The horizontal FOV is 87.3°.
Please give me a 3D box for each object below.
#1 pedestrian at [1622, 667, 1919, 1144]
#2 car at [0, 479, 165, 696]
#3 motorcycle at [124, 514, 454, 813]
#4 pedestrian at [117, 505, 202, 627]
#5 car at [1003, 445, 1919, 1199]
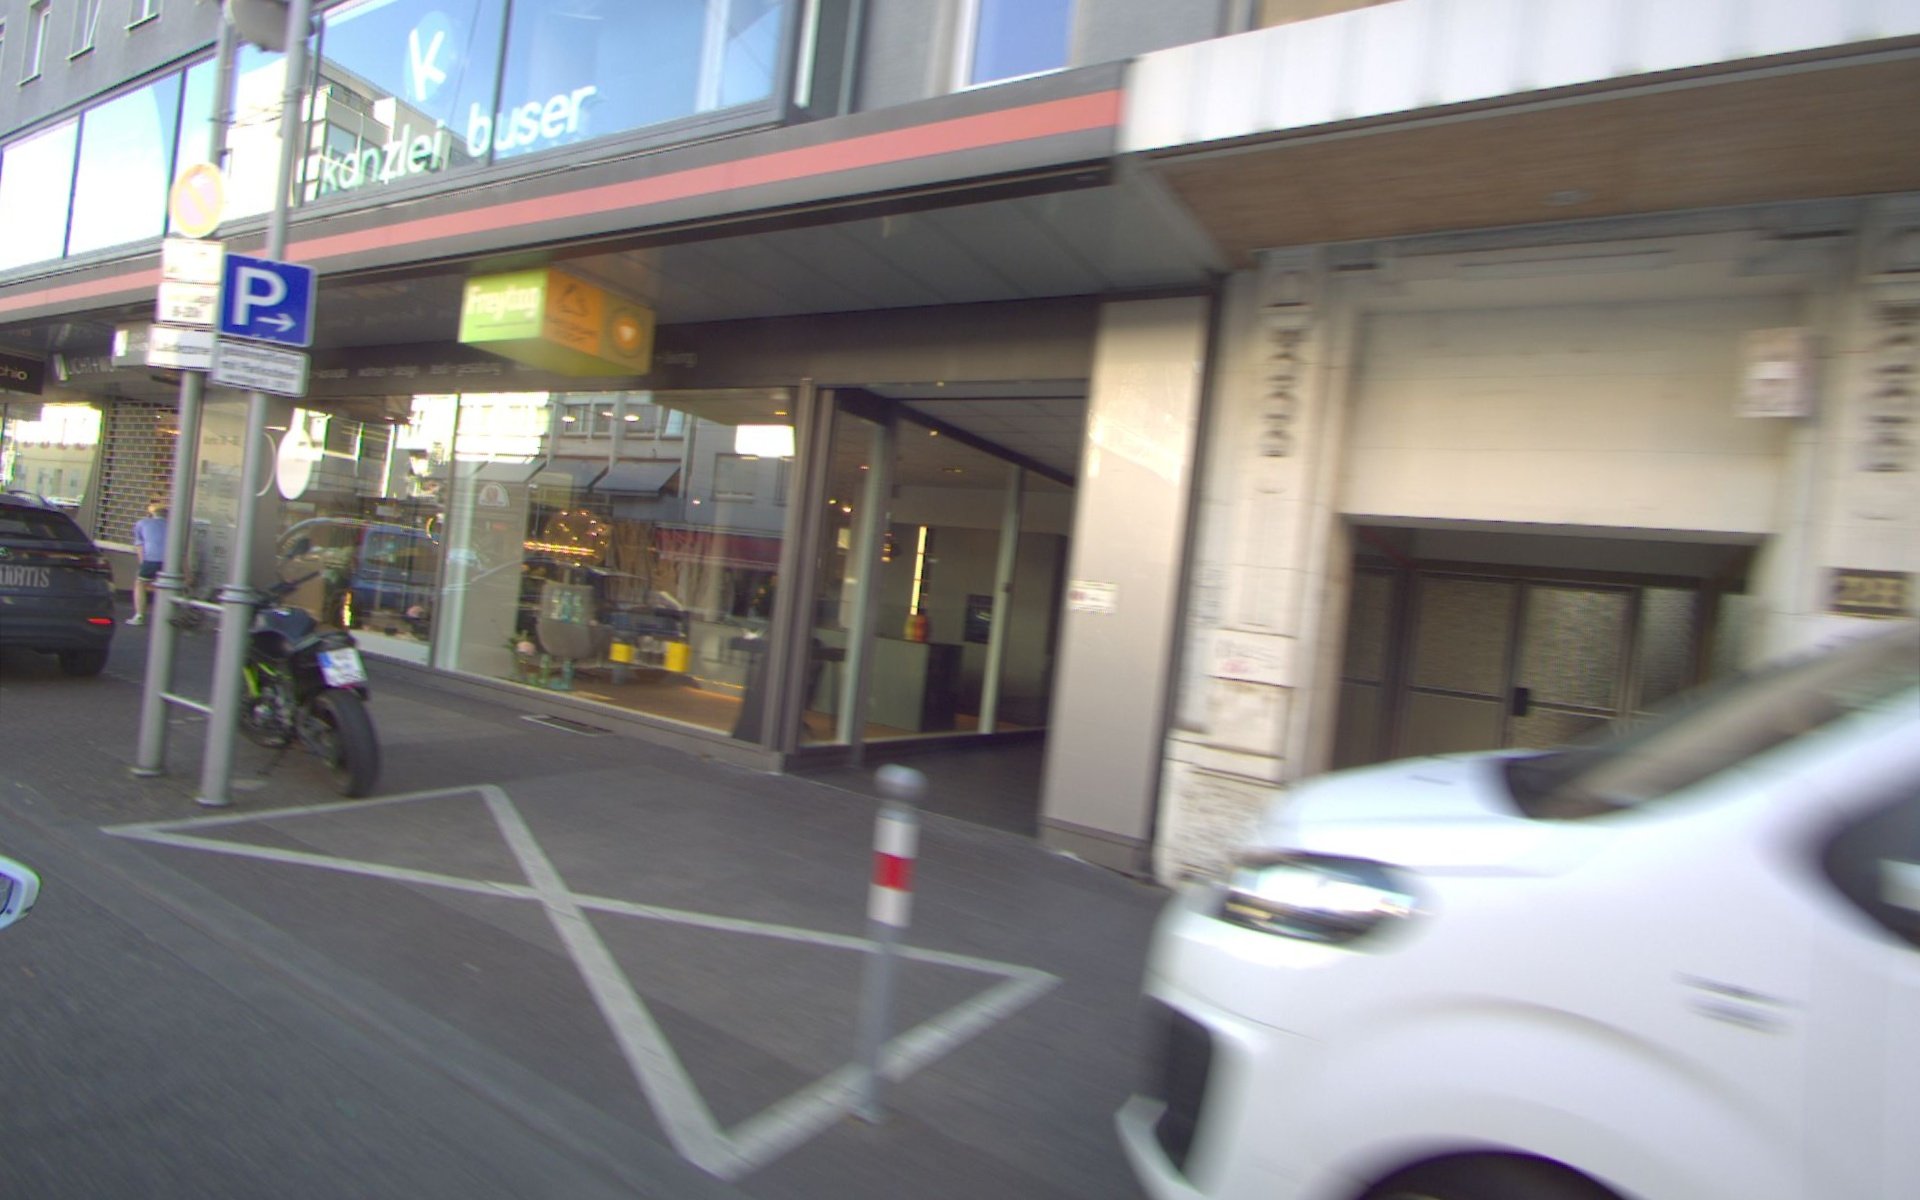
[{"bbox_3d":[3.168,1.077,3.919,0.801,1.527,0.696,7,1,31],"label":"pedestrian"},{"bbox_3d":[-8.817,-0.277,8.574,4.216,1.598,1.765,6,1,31],"label":"car"},{"bbox_3d":[-4.124,0.303,6.102,2.284,1.450,0.659,6,1,31],"label":"motorcycle"},{"bbox_3d":[-10.179,-0.425,12.790,0.719,1.458,0.575,7,2,32],"label":"pedestrian"},{"bbox_3d":[2.716,0.931,1.804,4.795,1.934,2.049,6,0,29],"label":"car"}]
